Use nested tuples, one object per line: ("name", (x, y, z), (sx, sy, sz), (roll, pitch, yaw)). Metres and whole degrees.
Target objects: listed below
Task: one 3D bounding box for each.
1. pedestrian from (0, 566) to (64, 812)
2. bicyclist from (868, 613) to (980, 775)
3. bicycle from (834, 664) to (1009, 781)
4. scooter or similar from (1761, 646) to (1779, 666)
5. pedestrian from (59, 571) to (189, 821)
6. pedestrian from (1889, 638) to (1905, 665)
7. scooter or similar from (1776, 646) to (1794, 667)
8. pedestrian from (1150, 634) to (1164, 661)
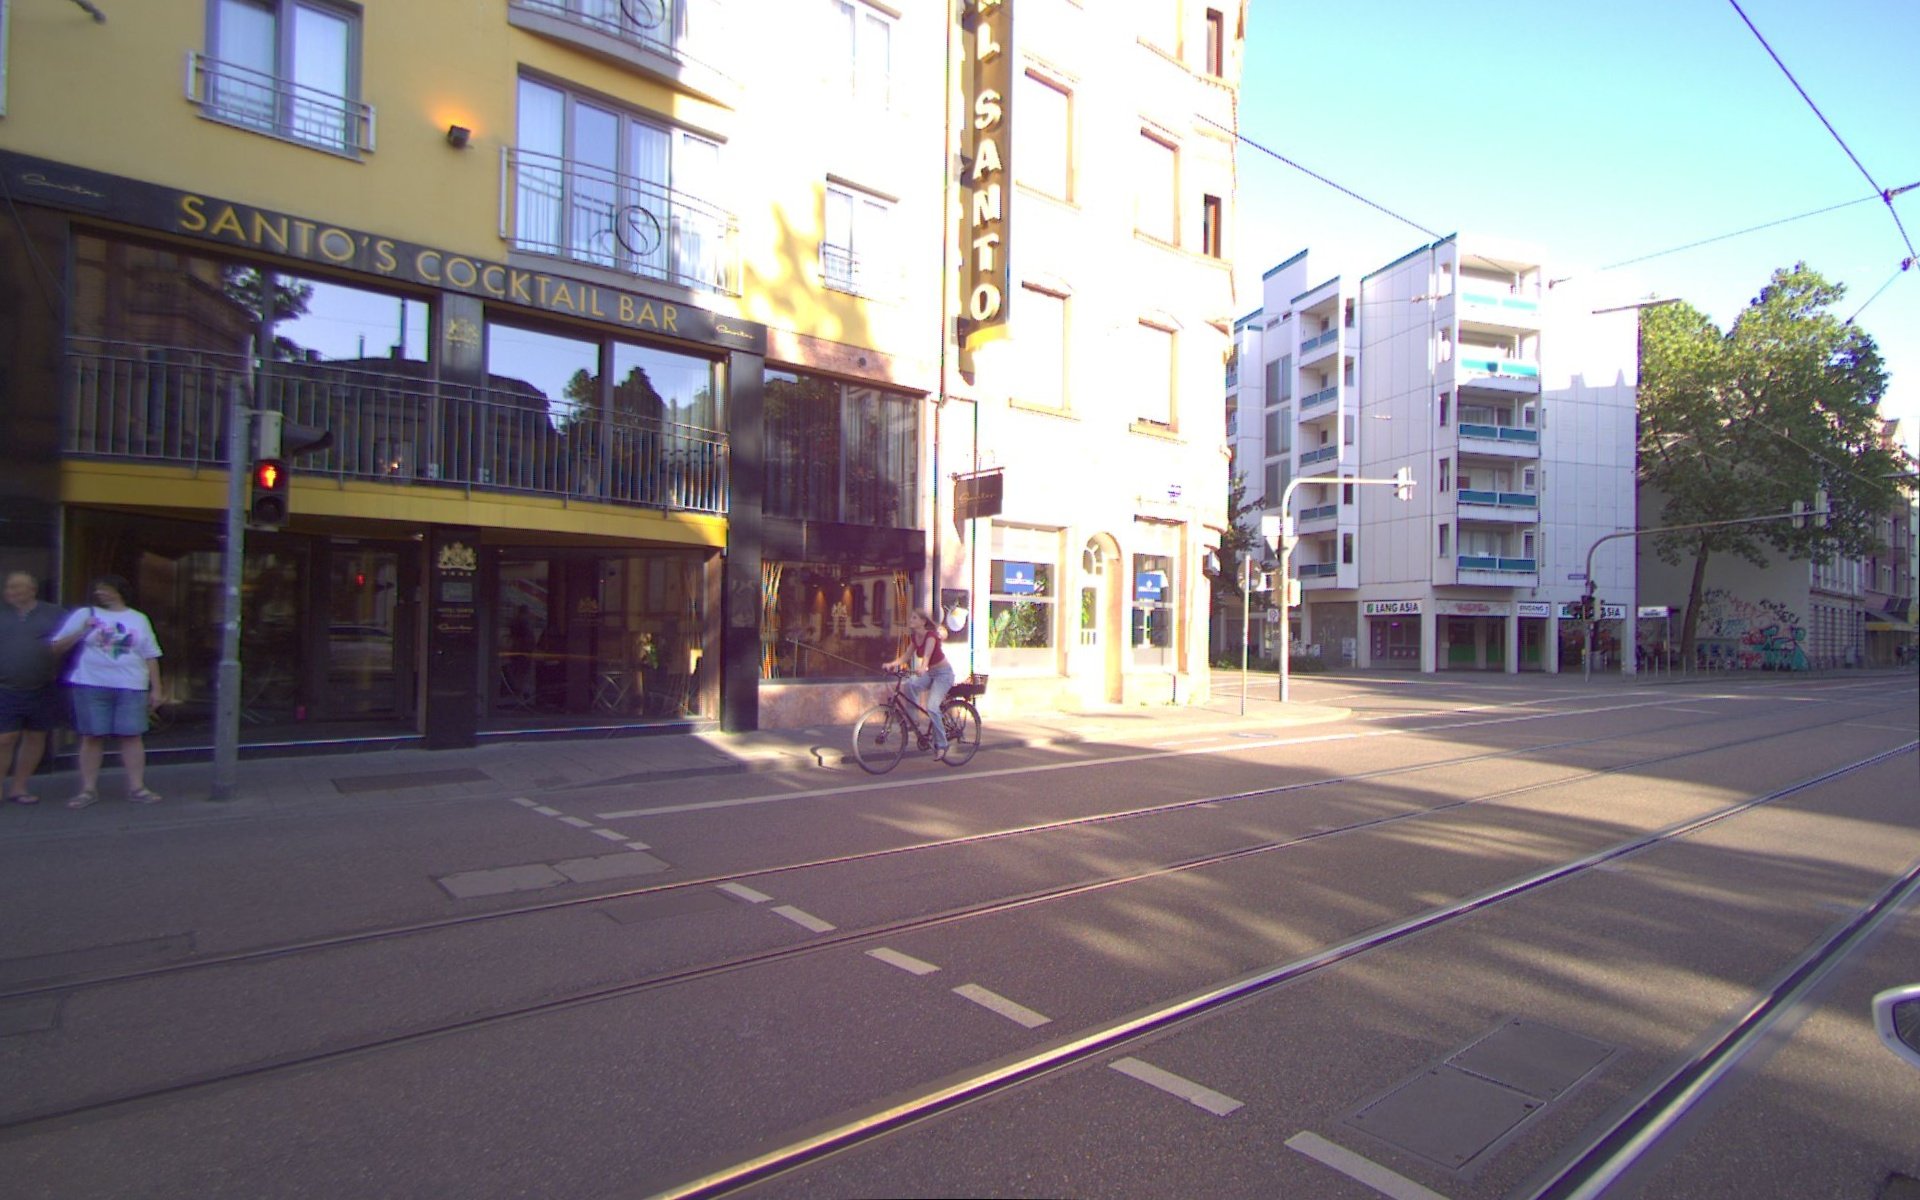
("pedestrian", (-7.420, 0.655, 7.655), (0.793, 1.795, 0.741), (1, 3, -37))
("bicyclist", (-0.391, 0.991, 10.938), (0.982, 1.665, 0.695), (2, -2, -40))
("bicycle", (-0.386, 1.279, 10.945), (1.883, 1.124, 0.691), (2, -2, -41))
("scooter or similar", (43.496, 3.008, 53.946), (1.467, 1.059, 0.512), (2, -2, -42))
("pedestrian", (-6.800, 0.723, 8.188), (0.748, 1.843, 1.033), (1, 3, -40))
("pedestrian", (60.293, 3.305, 64.627), (0.642, 1.751, 0.695), (2, -2, -39))
("scooter or similar", (43.910, 3.001, 53.477), (1.467, 1.071, 0.512), (2, -2, -42))
("pedestrian", (12.632, 3.018, 64.493), (0.651, 1.718, 0.646), (1, -1, -16))
